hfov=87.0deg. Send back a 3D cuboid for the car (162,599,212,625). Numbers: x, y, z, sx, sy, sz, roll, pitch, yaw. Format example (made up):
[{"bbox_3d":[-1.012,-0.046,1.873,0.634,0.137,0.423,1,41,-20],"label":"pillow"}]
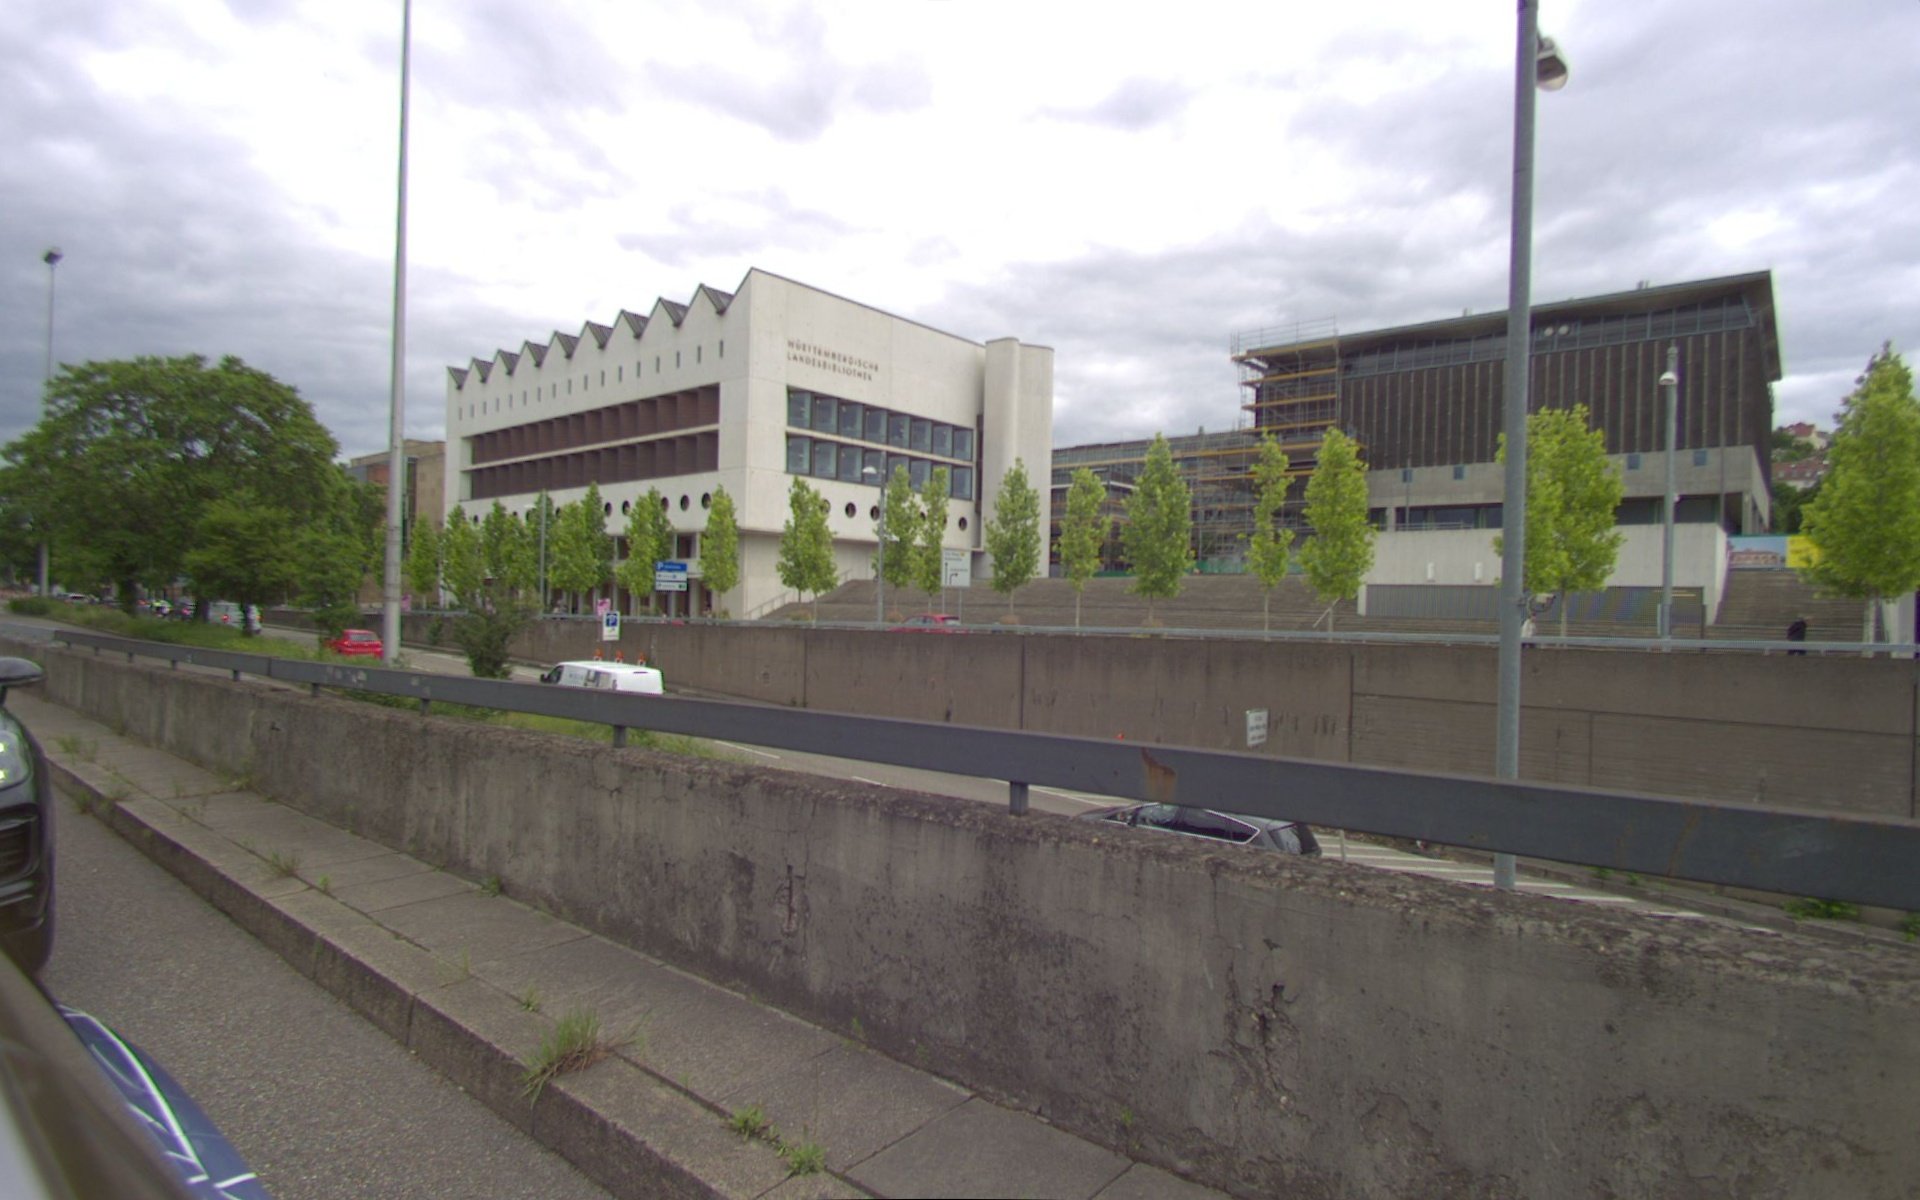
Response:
[{"bbox_3d":[-57.389,0.897,75.092,4.385,1.624,1.852,4,0,38],"label":"car"}]

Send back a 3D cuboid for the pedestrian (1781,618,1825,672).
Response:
[{"bbox_3d":[26.745,1.421,32.112,0.728,1.655,0.795,1,-3,-30],"label":"pedestrian"}]

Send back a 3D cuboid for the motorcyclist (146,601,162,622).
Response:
[{"bbox_3d":[-56.297,0.815,70.708,0.718,1.362,0.662,3,-3,41],"label":"motorcyclist"}]

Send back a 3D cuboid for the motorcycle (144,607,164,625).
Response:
[{"bbox_3d":[-56.286,1.120,70.669,2.050,1.106,0.678,3,-2,41],"label":"motorcycle"}]

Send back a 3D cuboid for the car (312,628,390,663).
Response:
[{"bbox_3d":[-27.876,2.044,46.297,3.999,1.497,1.972,-1,-2,42],"label":"car"}]

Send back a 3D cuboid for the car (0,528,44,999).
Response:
[{"bbox_3d":[-5.547,0.550,4.473,4.733,1.602,1.879,0,0,44],"label":"car"}]

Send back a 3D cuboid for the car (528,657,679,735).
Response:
[{"bbox_3d":[-11.061,2.865,31.220,5.114,2.029,2.195,-1,-2,42],"label":"car"}]

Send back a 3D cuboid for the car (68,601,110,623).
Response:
[{"bbox_3d":[-72.519,1.006,84.236,4.515,1.687,1.973,0,-4,41],"label":"car"}]

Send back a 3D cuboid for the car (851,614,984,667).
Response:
[{"bbox_3d":[-1.617,1.469,37.749,4.729,1.869,2.154,-1,-1,38],"label":"car"}]

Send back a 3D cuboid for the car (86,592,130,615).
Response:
[{"bbox_3d":[-63.353,0.263,75.224,4.144,1.500,1.757,3,0,40],"label":"car"}]

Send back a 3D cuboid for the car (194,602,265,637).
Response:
[{"bbox_3d":[-42.614,1.113,58.993,5.246,1.651,1.973,2,-5,40],"label":"car"}]

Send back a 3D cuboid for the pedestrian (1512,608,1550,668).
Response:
[{"bbox_3d":[19.334,1.284,34.283,0.728,2.029,0.795,0,-2,-26],"label":"pedestrian"}]

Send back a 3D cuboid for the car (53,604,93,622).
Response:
[{"bbox_3d":[-76.087,1.077,86.822,3.998,1.409,1.973,0,-4,41],"label":"car"}]

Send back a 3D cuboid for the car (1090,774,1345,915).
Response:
[{"bbox_3d":[4.490,4.191,17.945,3.999,1.560,1.855,0,-1,42],"label":"car"}]

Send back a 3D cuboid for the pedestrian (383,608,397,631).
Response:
[{"bbox_3d":[-50.428,1.699,89.520,1.016,2.029,0.712,1,1,42],"label":"pedestrian"}]
